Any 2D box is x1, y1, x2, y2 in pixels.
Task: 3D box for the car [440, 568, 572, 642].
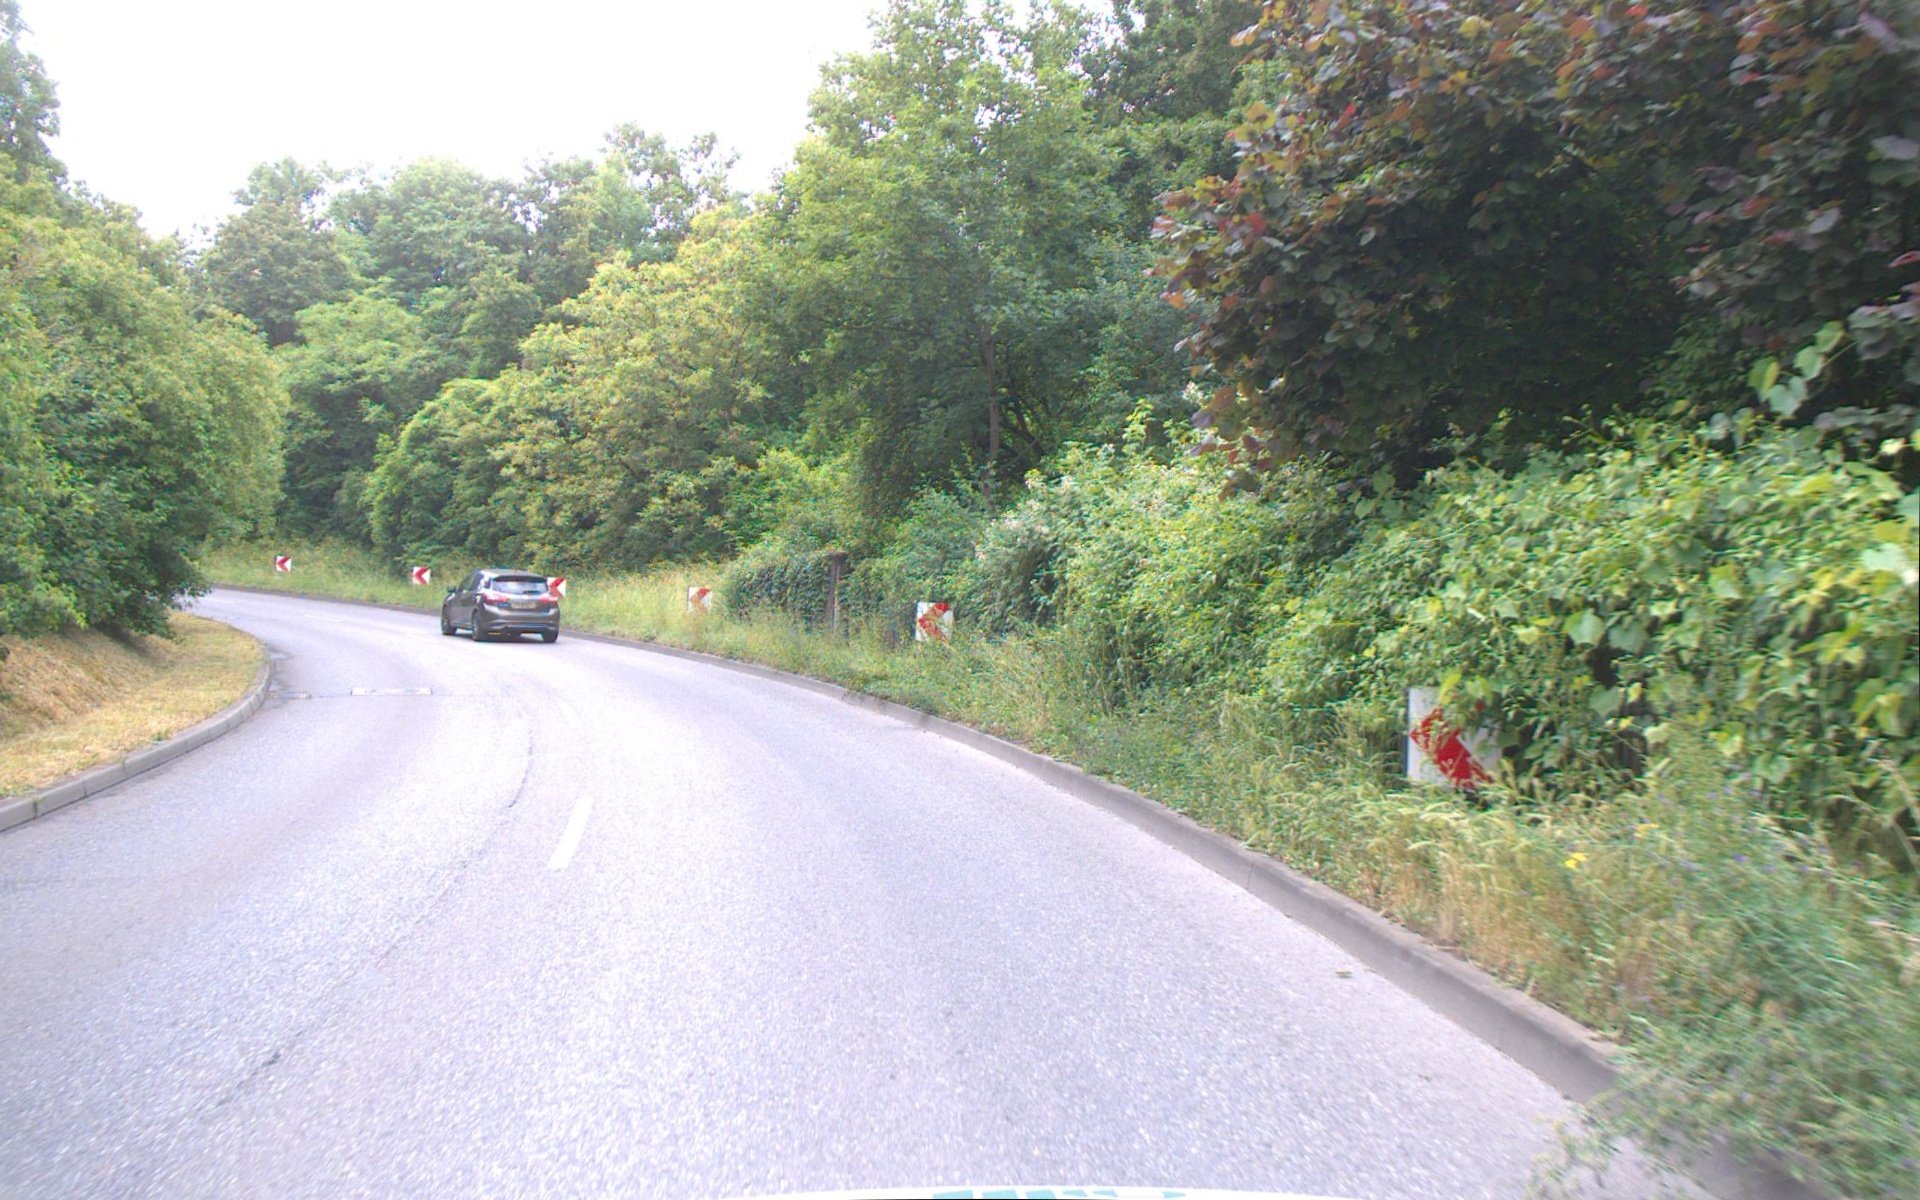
[{"bbox_3d":[-10.052,0.125,36.438,1.821,1.509,3.958,1,-1,-31],"label":"car"}]
